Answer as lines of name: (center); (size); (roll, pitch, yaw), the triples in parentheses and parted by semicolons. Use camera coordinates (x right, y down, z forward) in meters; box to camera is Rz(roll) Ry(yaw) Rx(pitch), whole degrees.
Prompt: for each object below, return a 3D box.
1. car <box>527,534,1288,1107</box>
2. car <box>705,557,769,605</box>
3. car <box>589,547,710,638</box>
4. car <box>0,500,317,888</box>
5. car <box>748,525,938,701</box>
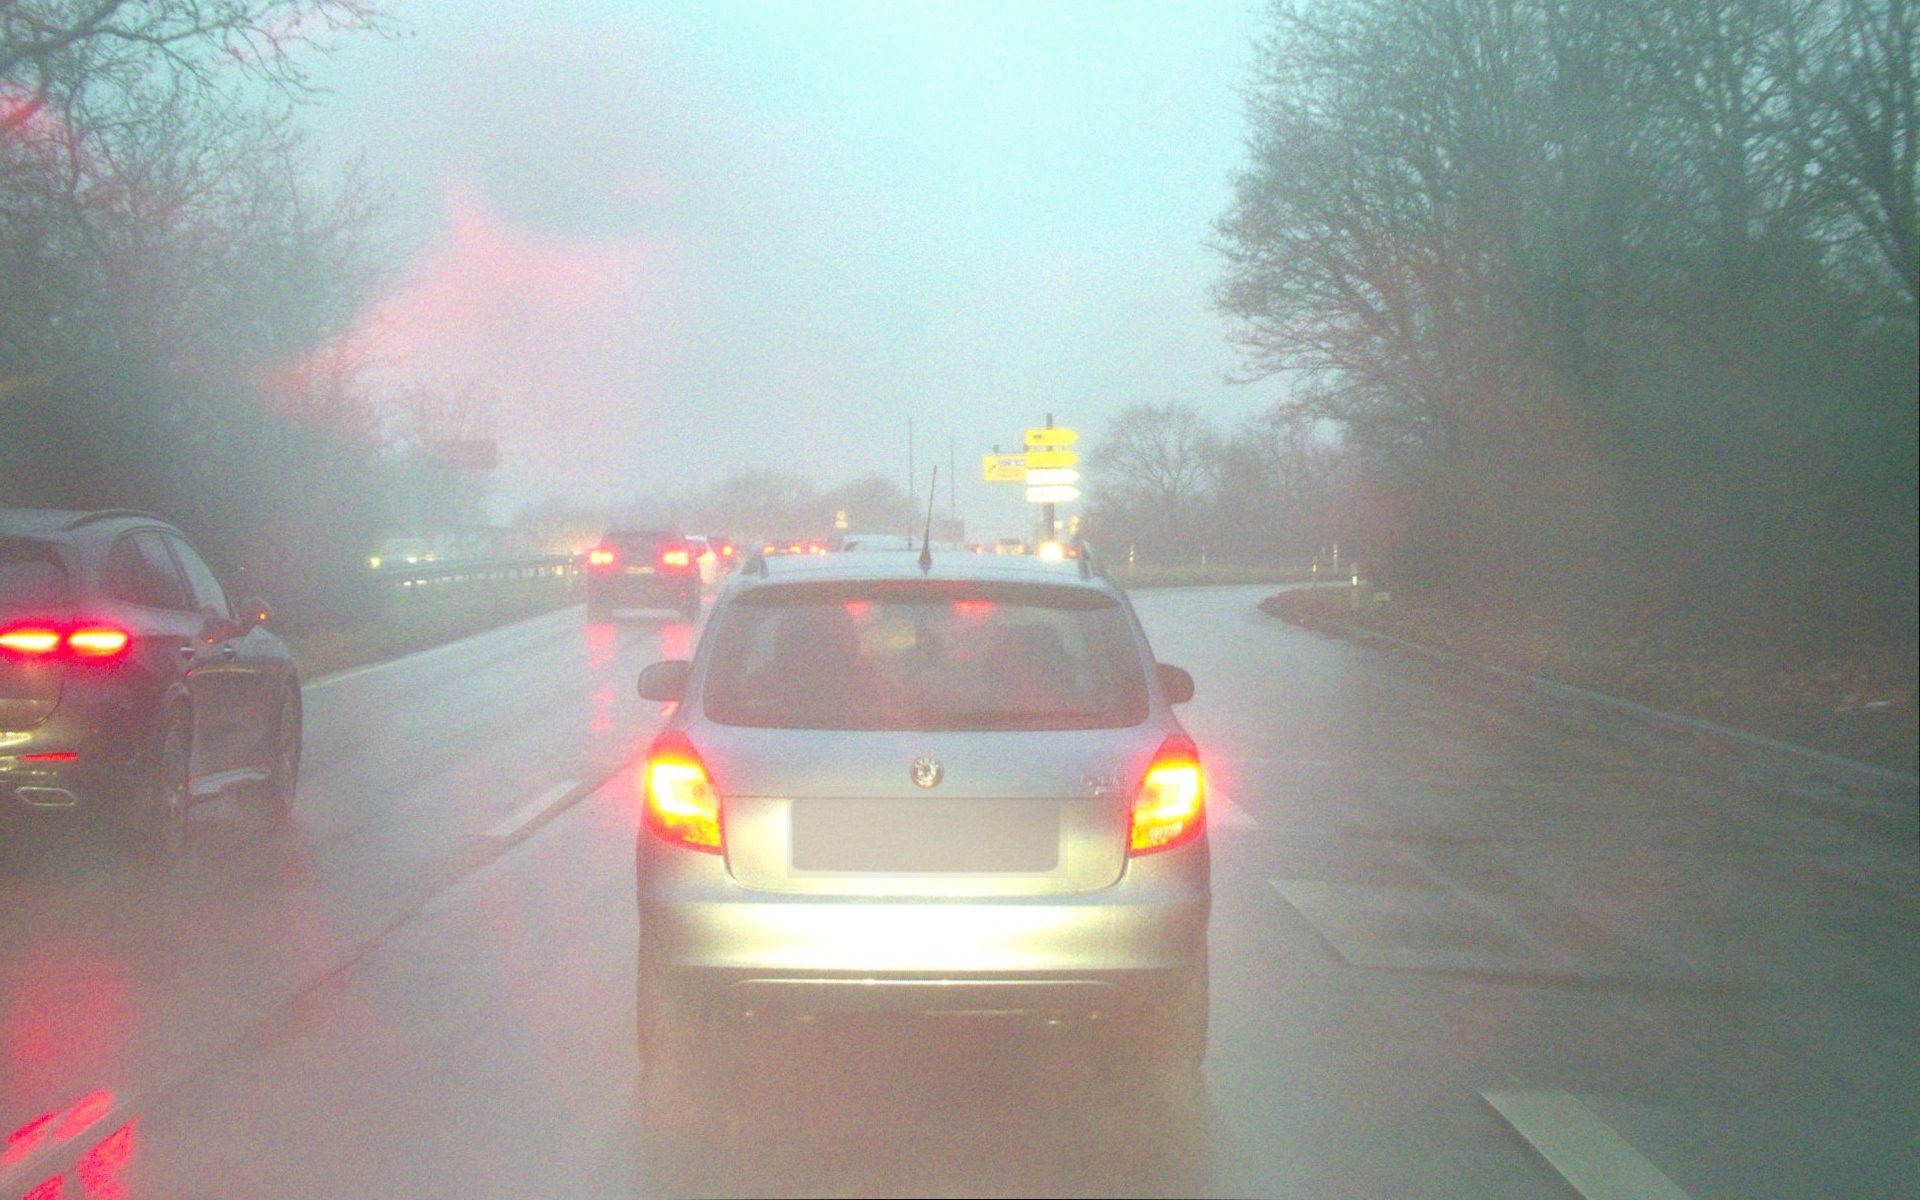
car: (-0.146, 0.568, 11.117); (1.993, 1.495, 4.138); (0, 0, 0)
car: (-7.067, -0.604, 109.195); (1.789, 1.478, 4.000); (-1, 1, 0)
car: (-5.404, -0.162, 60.282); (1.789, 1.540, 4.000); (0, 1, 0)
car: (-4.416, 0.346, 16.395); (1.993, 1.596, 4.309); (1, 1, -2)
car: (-1.188, 0.102, 36.650); (1.897, 1.761, 4.309); (0, 1, 0)
